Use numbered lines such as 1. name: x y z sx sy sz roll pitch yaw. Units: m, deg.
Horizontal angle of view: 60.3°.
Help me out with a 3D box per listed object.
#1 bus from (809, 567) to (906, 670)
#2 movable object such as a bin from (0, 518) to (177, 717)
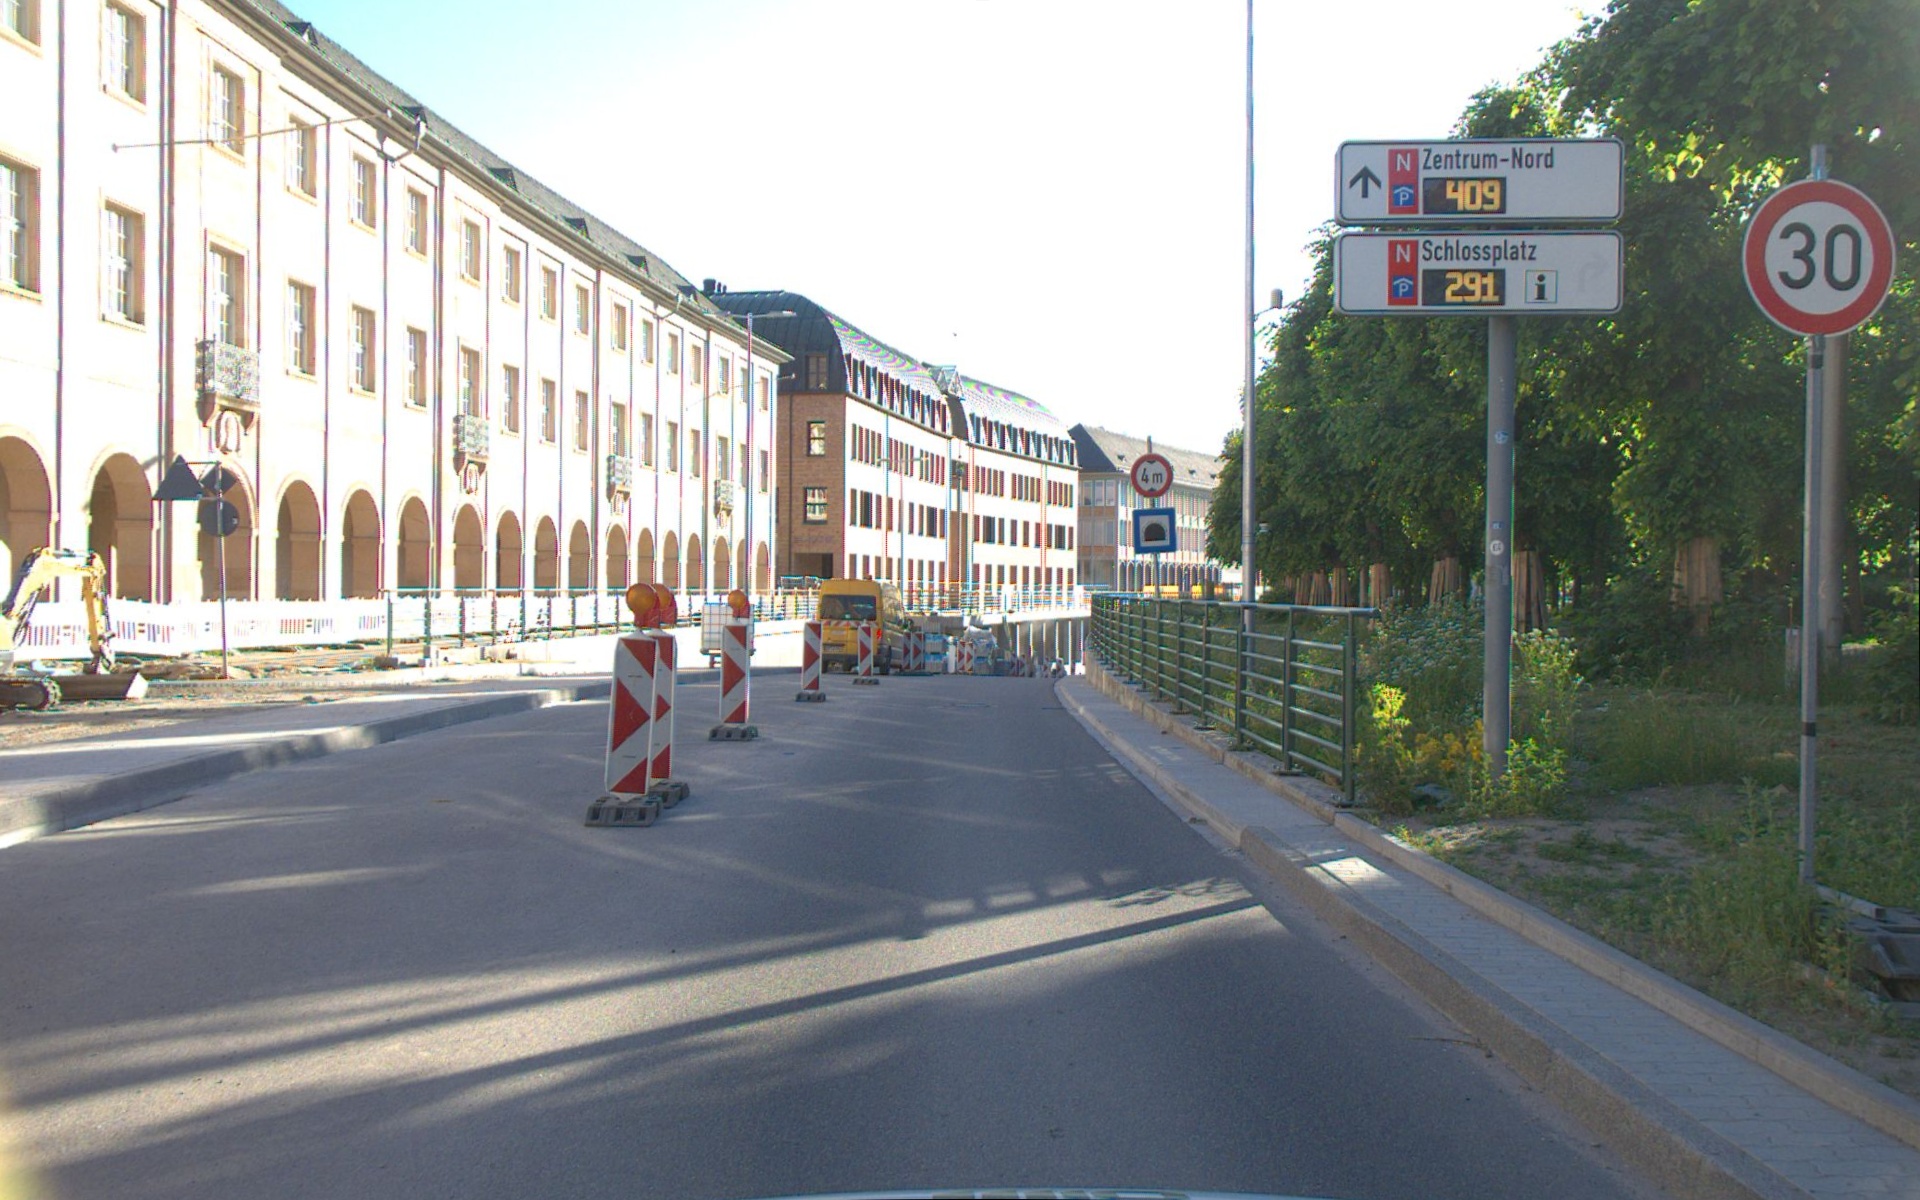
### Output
1. bus: -2.797 0.553 46.333 2.029 2.734 4.685 0 -2 5
2. movable object such as a bin: -12.626 0.197 21.617 2.493 2.390 4.462 0 0 3
